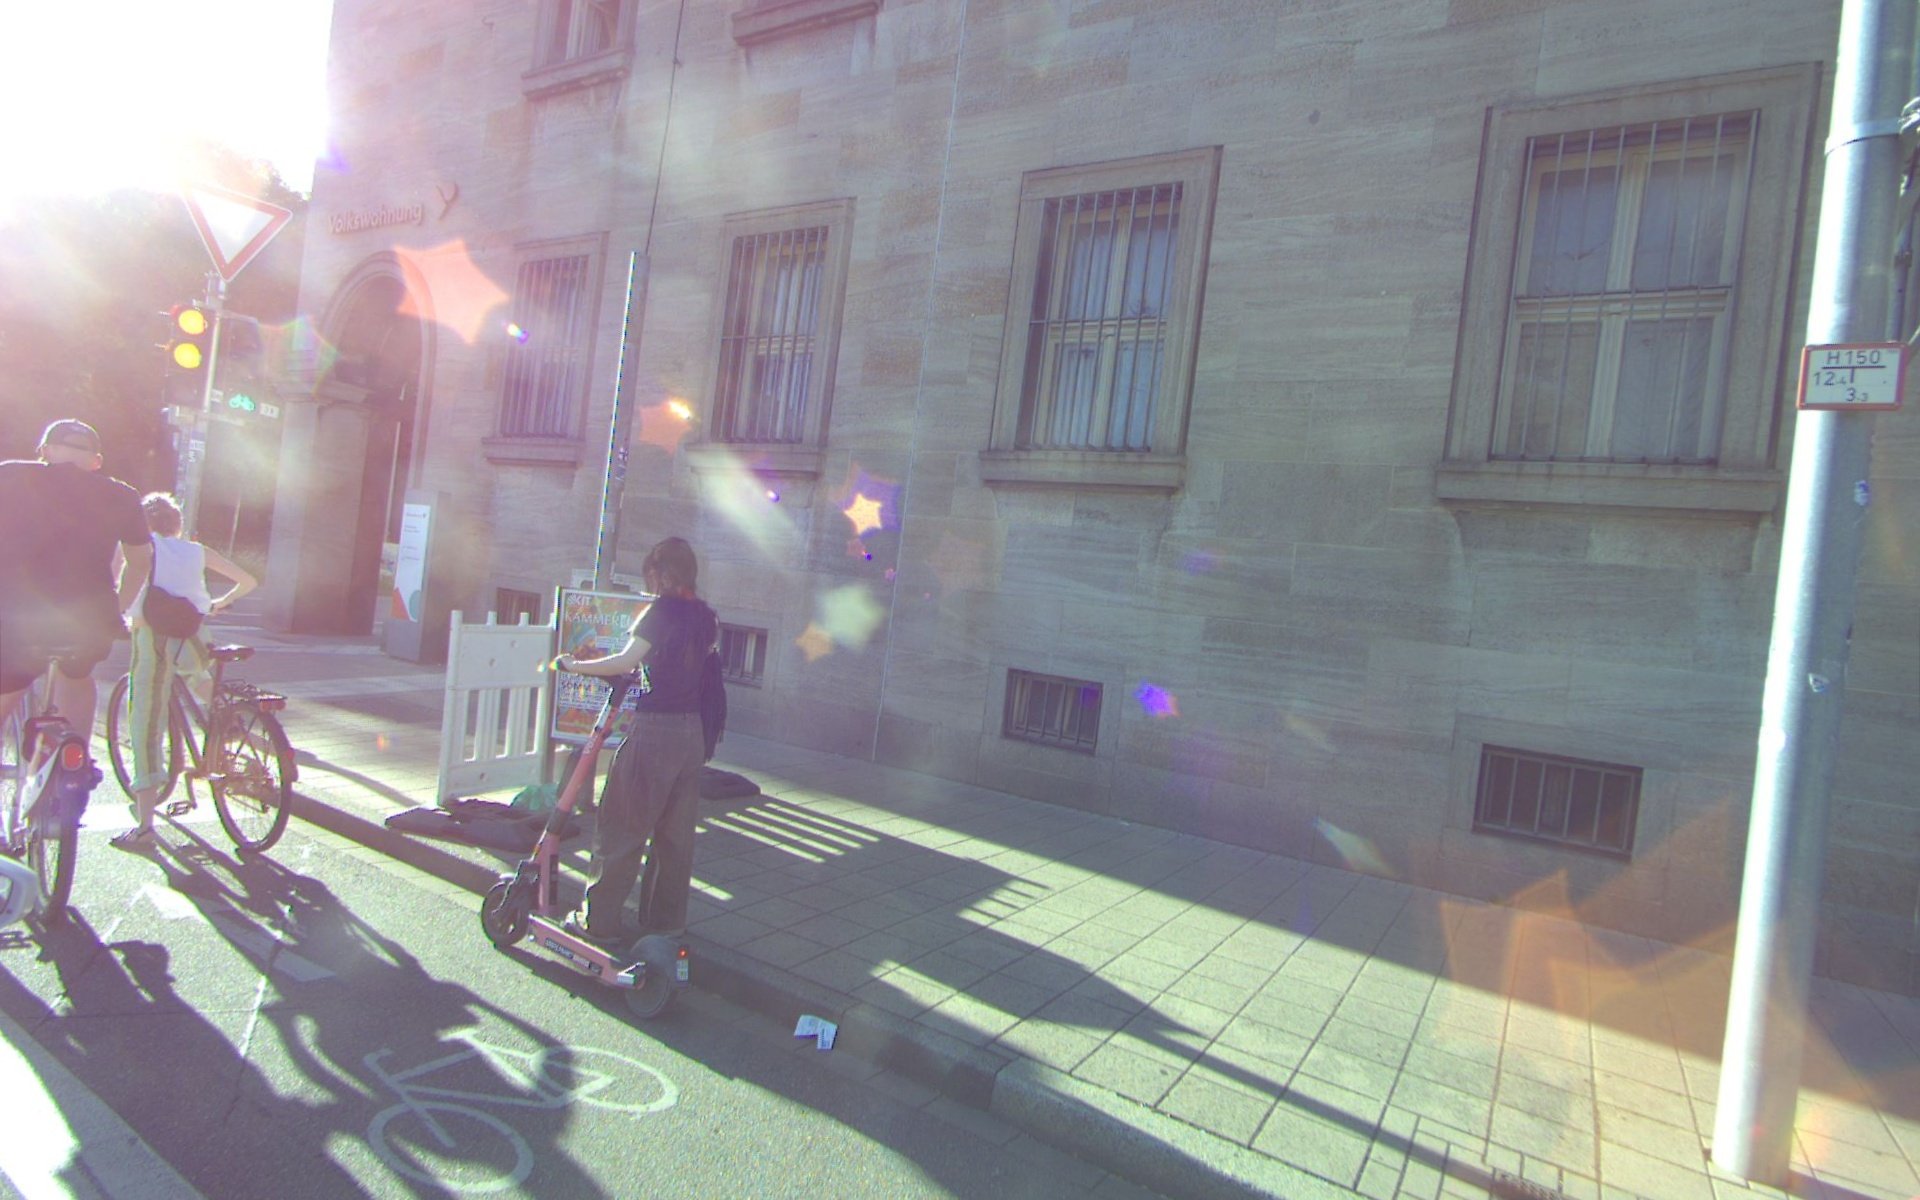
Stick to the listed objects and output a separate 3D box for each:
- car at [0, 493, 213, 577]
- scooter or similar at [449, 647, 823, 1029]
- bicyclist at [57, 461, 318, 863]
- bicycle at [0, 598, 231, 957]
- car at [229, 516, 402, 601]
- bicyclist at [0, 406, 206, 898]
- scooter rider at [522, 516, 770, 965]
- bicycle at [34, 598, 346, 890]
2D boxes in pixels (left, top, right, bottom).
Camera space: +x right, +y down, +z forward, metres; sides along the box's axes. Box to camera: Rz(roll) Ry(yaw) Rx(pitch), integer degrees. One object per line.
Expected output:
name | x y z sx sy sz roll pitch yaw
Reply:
car | -23.473 -1.747 27.348 1.967 1.533 4.586 6 -2 32
scooter or similar | -1.283 0.847 3.967 1.250 1.163 0.574 6 -1 27
bicyclist | -3.785 0.263 4.925 0.934 1.760 0.584 7 0 32
bicycle | -3.715 0.591 3.989 1.717 1.057 0.624 7 0 31
car | -20.273 -1.258 31.803 1.968 2.037 3.994 6 -2 33
bicyclist | -3.632 0.172 3.965 0.897 1.736 0.624 7 0 31
scooter rider | -1.214 0.518 3.970 0.566 1.581 0.547 7 0 13
bicycle | -3.777 0.620 4.887 1.718 1.057 0.582 7 0 33
